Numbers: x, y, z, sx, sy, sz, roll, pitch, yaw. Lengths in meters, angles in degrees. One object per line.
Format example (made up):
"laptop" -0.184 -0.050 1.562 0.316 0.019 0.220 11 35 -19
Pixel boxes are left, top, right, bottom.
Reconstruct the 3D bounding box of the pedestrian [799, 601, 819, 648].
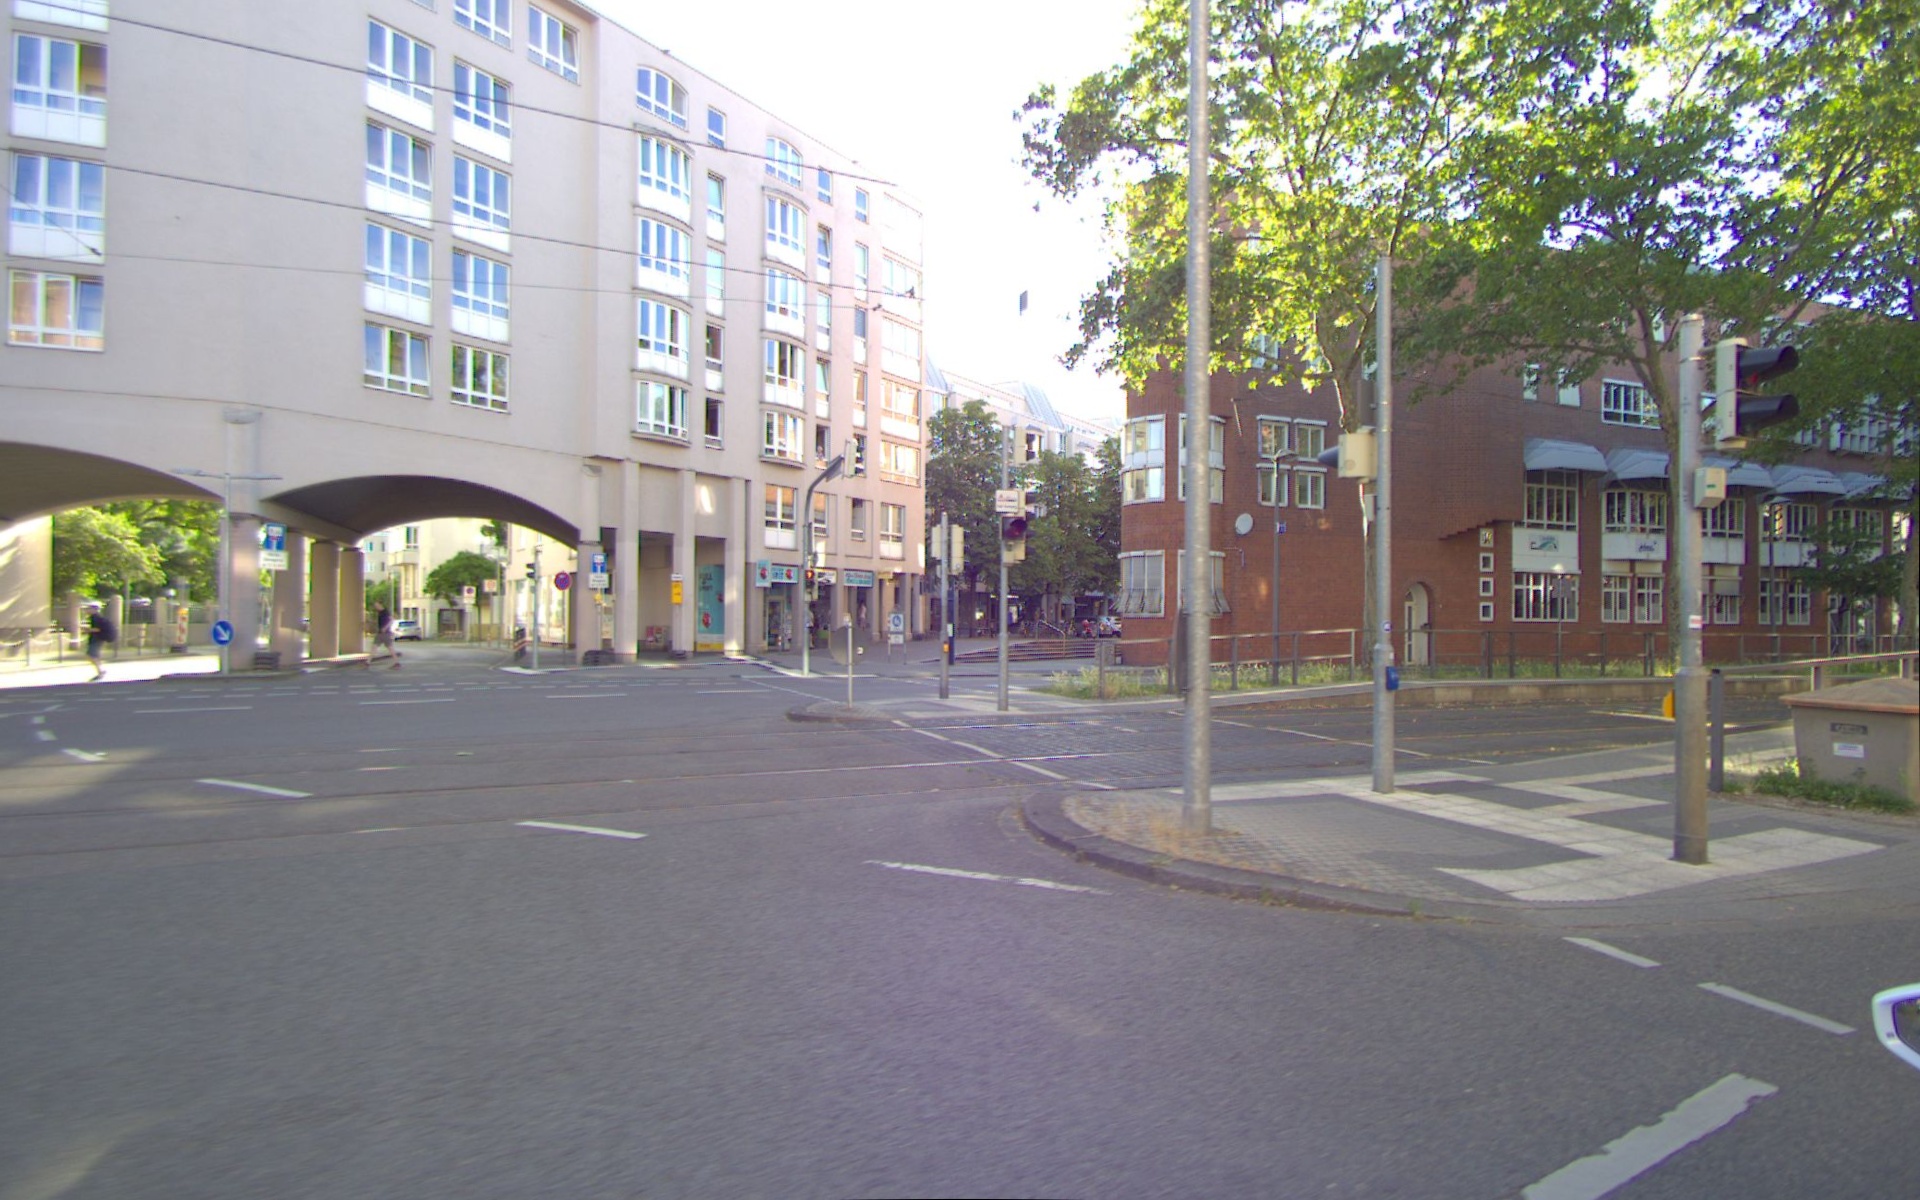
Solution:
"pedestrian" -6.379 1.052 42.486 0.809 1.968 0.758 0 0 -8

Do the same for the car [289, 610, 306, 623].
"car" -91.977 2.289 139.478 1.800 1.864 3.959 1 -1 -36

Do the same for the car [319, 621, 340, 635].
"car" -65.684 2.891 104.653 1.669 1.413 3.618 1 -1 -35

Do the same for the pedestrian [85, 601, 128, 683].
"pedestrian" -20.212 0.987 23.801 0.746 1.894 0.848 1 -1 -40

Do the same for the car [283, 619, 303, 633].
"car" -71.611 2.806 107.833 1.669 1.413 3.618 1 -1 -35

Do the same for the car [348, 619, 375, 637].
"car" -49.816 2.319 83.620 1.669 1.413 3.618 1 -1 -35

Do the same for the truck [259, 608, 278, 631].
"truck" -106.093 2.953 154.157 2.168 3.378 6.542 1 -1 -37

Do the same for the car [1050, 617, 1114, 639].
"car" 8.354 1.880 68.747 3.924 1.419 1.998 0 -1 25

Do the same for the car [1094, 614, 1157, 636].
"car" 11.702 1.760 71.060 3.940 1.576 1.990 1 -1 -21

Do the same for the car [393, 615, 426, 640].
"car" -39.831 1.958 72.647 1.878 1.752 3.623 1 -1 -32

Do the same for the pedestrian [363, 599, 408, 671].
"pedestrian" -16.621 0.994 29.064 0.825 2.040 0.883 0 -1 41
